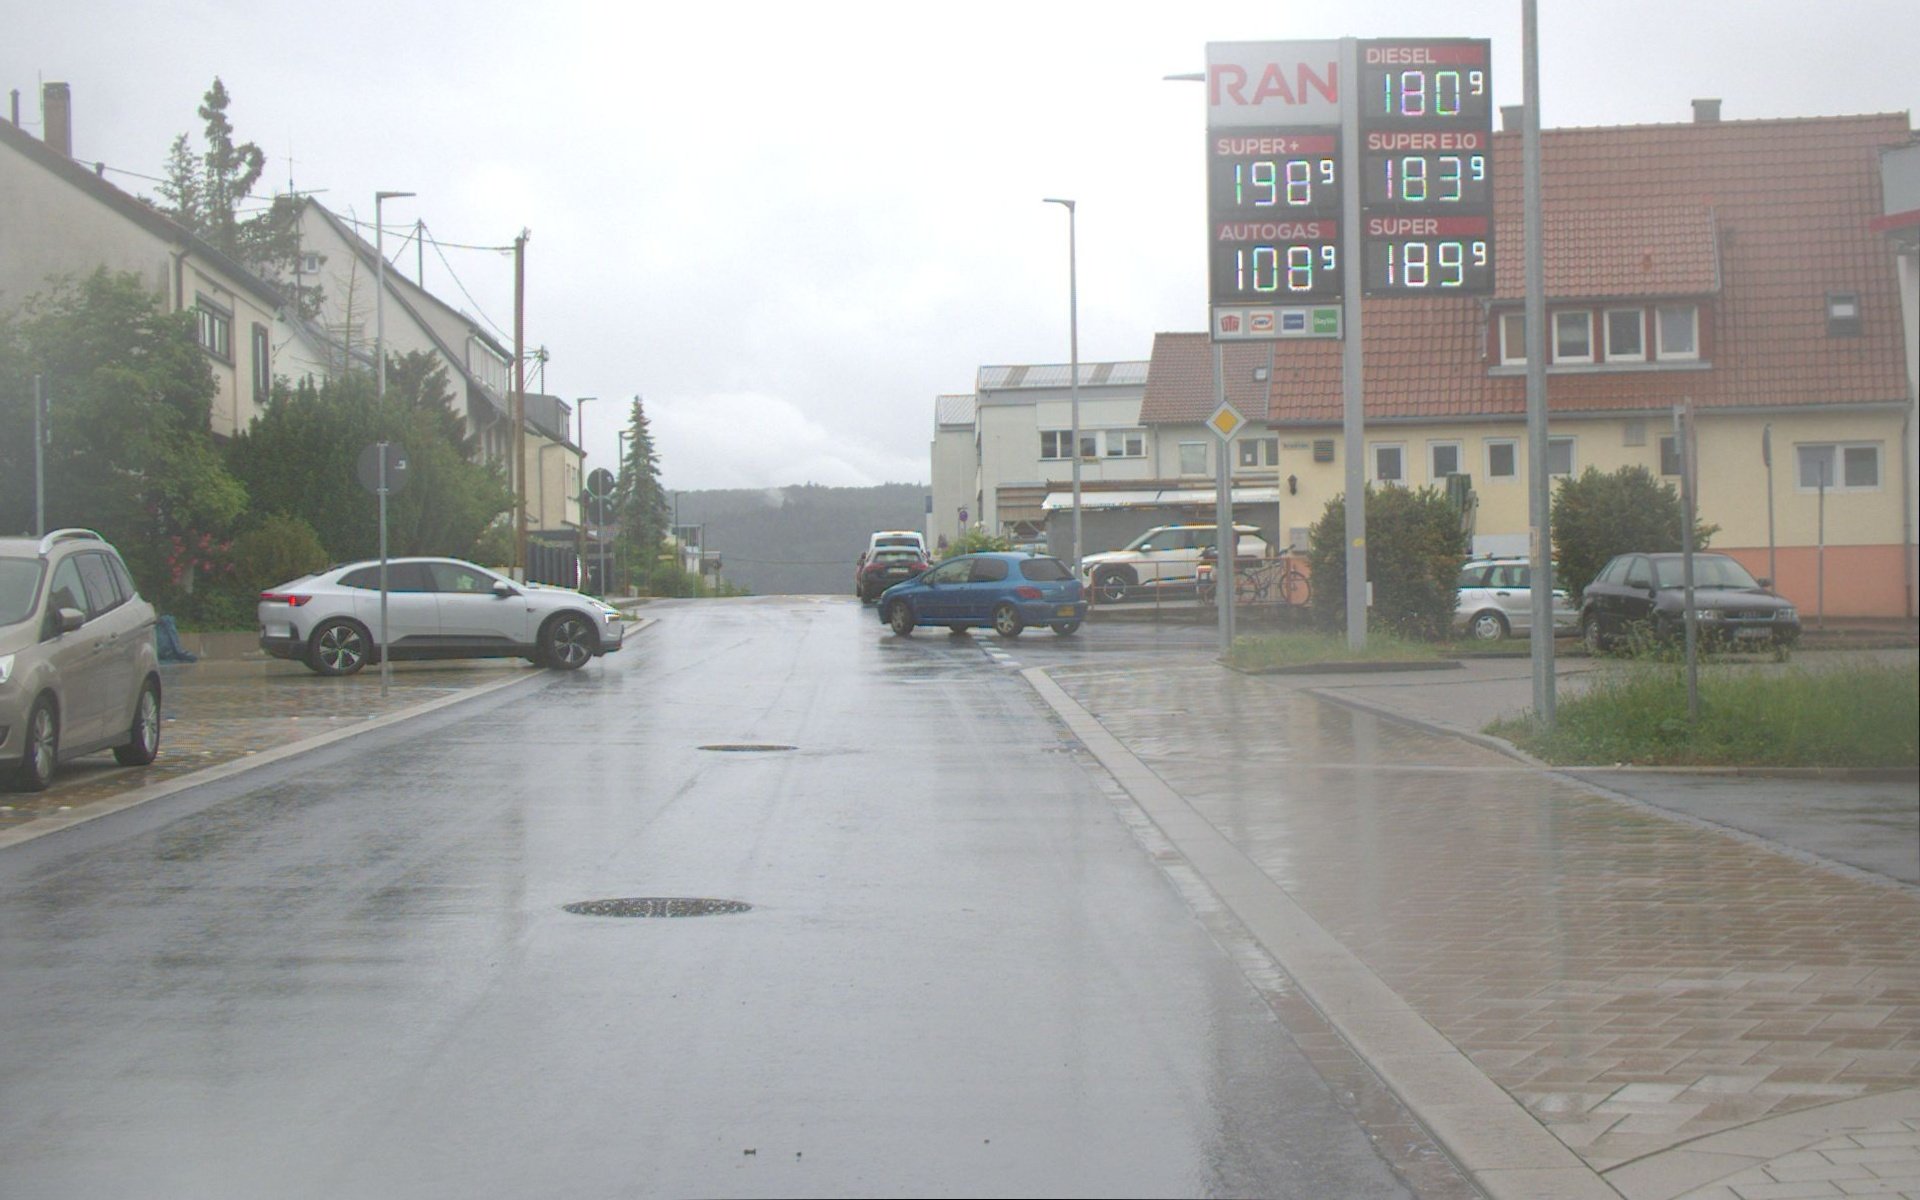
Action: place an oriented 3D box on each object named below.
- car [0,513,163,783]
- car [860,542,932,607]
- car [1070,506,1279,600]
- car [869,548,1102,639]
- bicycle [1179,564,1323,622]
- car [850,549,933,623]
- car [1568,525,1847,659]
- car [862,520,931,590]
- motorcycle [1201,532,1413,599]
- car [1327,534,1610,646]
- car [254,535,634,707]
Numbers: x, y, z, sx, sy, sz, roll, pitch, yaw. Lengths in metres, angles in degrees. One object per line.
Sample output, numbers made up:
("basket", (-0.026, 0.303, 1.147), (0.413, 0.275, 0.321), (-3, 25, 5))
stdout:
("car", (-6.731, 0.278, 22.691), (1.993, 1.623, 4.153), (-1, 1, -1))
("car", (-1.861, -0.739, 101.263), (1.993, 1.700, 4.000), (3, -1, -1))
("car", (4.499, -0.974, 72.468), (4.112, 1.700, 1.789), (3, -1, -3))
("car", (0.439, -0.130, 62.186), (3.998, 1.488, 1.853), (1, -2, 45))
("bicycle", (5.549, -0.142, 65.847), (0.668, 1.063, 3.629), (4, -2, -32))
("car", (-1.740, -0.329, 88.235), (1.993, 1.700, 4.000), (3, -1, -1))
("car", (9.612, -0.071, 44.530), (1.993, 1.547, 4.001), (3, -1, -12))
("car", (-1.747, -1.223, 94.985), (1.783, 1.700, 4.000), (3, -1, -1))
("motorcycle", (6.843, -0.679, 67.902), (3.993, 1.149, 1.092), (2, -2, 27))
("car", (8.091, -0.139, 54.897), (3.986, 1.550, 1.955), (3, -1, -10))
("car", (-6.936, 0.295, 46.052), (4.751, 2.007, 2.000), (3, -2, -14))
